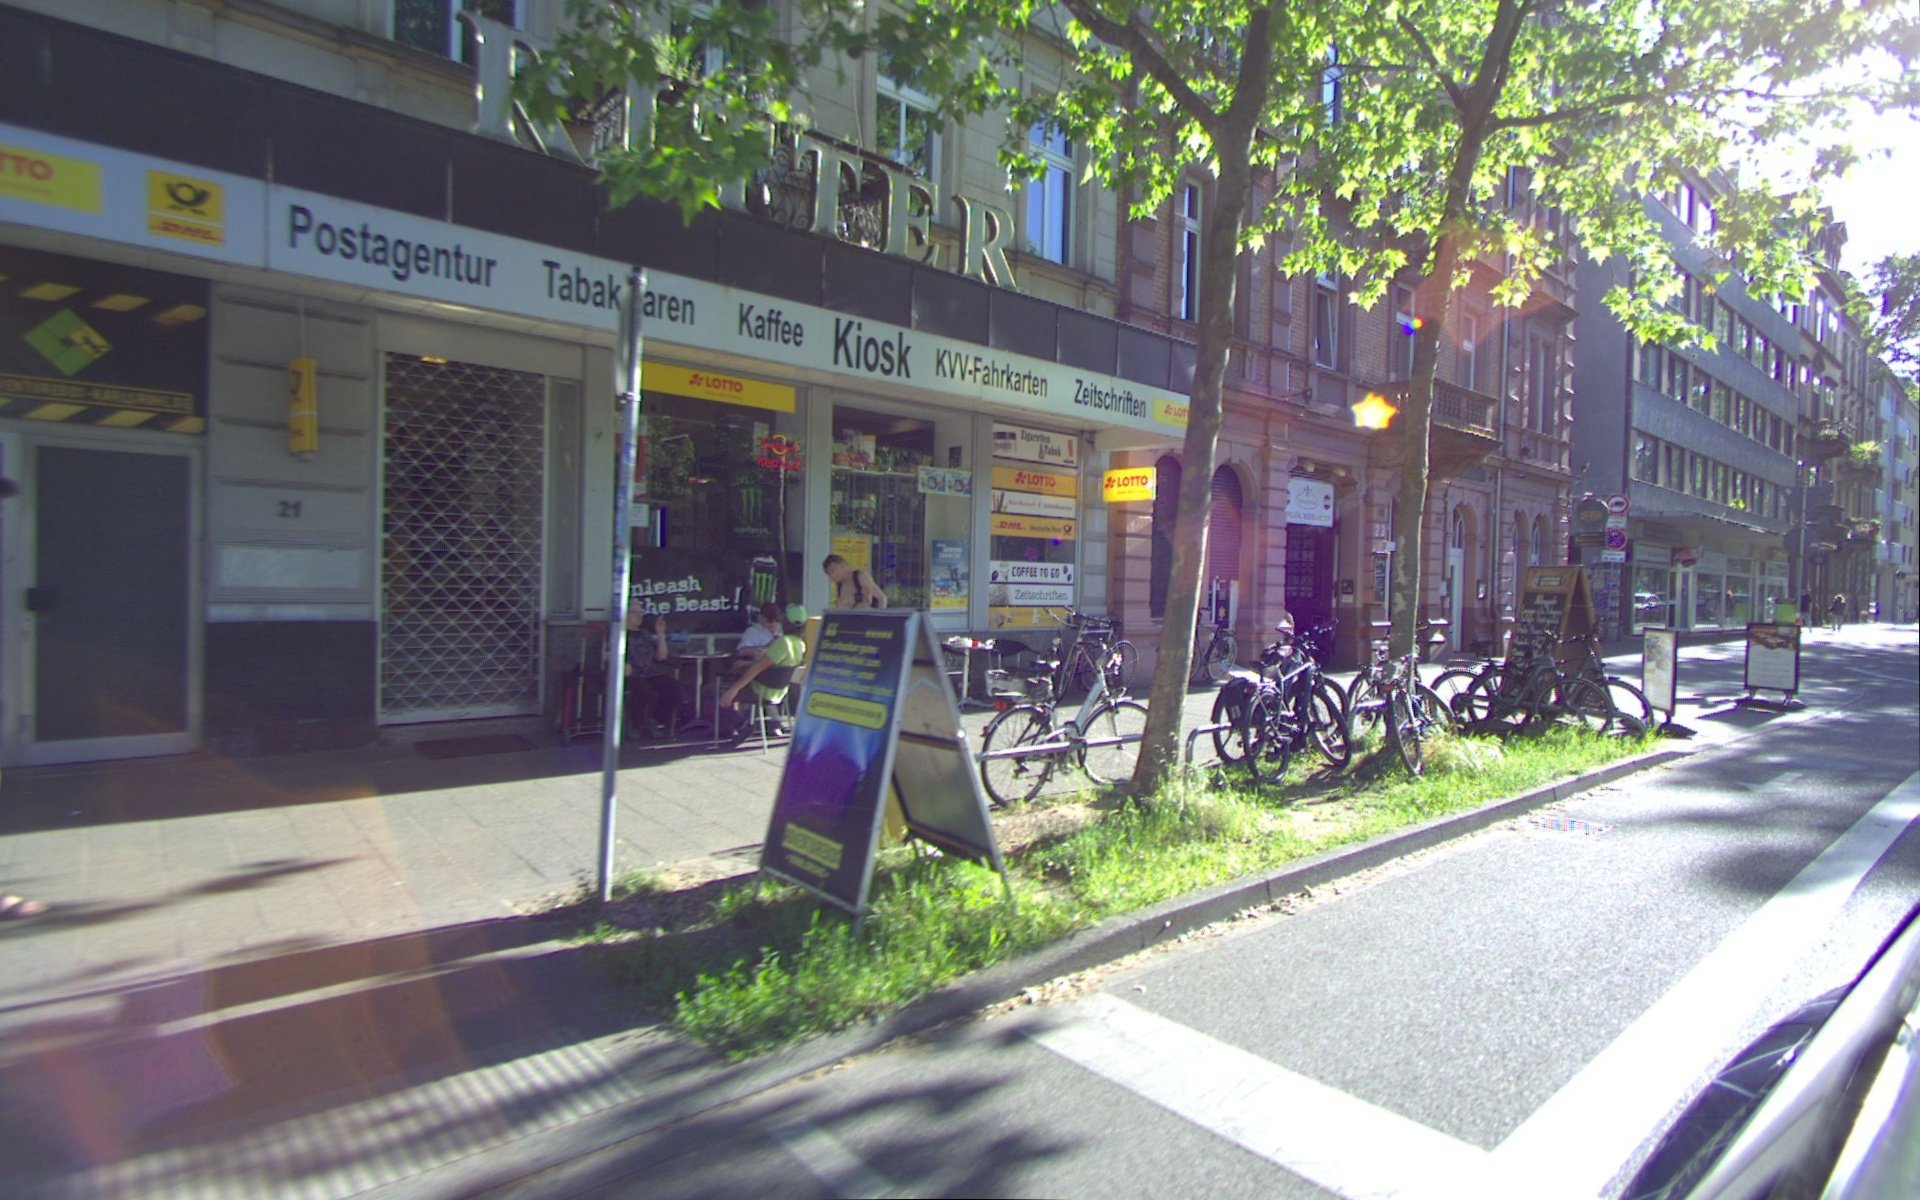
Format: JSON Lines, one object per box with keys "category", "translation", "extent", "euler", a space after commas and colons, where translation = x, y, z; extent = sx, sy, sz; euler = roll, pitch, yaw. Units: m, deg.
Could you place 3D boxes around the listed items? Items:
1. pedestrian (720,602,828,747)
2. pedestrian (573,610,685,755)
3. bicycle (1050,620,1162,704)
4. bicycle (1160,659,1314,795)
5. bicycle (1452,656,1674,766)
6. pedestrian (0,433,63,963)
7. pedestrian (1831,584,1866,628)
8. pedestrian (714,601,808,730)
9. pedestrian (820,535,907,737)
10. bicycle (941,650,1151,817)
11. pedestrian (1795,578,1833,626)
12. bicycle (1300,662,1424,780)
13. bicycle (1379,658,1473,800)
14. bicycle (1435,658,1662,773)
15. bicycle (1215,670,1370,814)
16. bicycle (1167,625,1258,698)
{"category": "pedestrian", "translation": [-1.585, 0.612, 8.643], "extent": [0.766, 1.176, 0.465], "euler": [0, -2, 25]}
{"category": "pedestrian", "translation": [-2.821, 0.681, 8.674], "extent": [0.643, 1.176, 0.671], "euler": [0, -1, 13]}
{"category": "bicycle", "translation": [1.879, 0.763, 12.869], "extent": [1.659, 1.006, 0.443], "euler": [2, -2, -42]}
{"category": "bicycle", "translation": [2.391, 1.031, 8.614], "extent": [1.659, 1.006, 0.443], "euler": [2, -2, -42]}
{"category": "bicycle", "translation": [6.401, 1.140, 10.856], "extent": [0.436, 1.006, 2.006], "euler": [2, -2, -42]}
{"category": "pedestrian", "translation": [-4.229, 0.370, 4.045], "extent": [0.840, 2.039, 0.884], "euler": [2, -2, -37]}
{"category": "pedestrian", "translation": [36.929, 0.245, 42.079], "extent": [0.702, 1.783, 1.001], "euler": [2, -2, -40]}
{"category": "pedestrian", "translation": [-1.900, 0.606, 9.664], "extent": [0.644, 1.176, 0.602], "euler": [-1, -2, 38]}
{"category": "pedestrian", "translation": [-0.914, 0.332, 9.468], "extent": [0.758, 1.834, 0.470], "euler": [1, -1, -9]}
{"category": "bicycle", "translation": [0.642, 0.868, 7.042], "extent": [1.659, 1.006, 0.443], "euler": [2, -2, -42]}
{"category": "pedestrian", "translation": [33.635, 0.084, 39.851], "extent": [0.702, 1.863, 1.002], "euler": [1, 0, -39]}
{"category": "bicycle", "translation": [3.940, 1.140, 9.857], "extent": [1.659, 1.006, 0.443], "euler": [2, -2, -42]}
{"category": "bicycle", "translation": [3.905, 1.015, 8.428], "extent": [0.441, 1.006, 1.667], "euler": [0, -1, 34]}
{"category": "bicycle", "translation": [6.078, 1.158, 10.574], "extent": [0.436, 1.006, 2.016], "euler": [2, -2, -42]}
{"category": "bicycle", "translation": [2.746, 1.107, 8.263], "extent": [1.659, 1.006, 0.443], "euler": [2, -2, -42]}
{"category": "bicycle", "translation": [3.722, 0.879, 14.848], "extent": [1.659, 1.006, 0.443], "euler": [2, -2, -42]}
